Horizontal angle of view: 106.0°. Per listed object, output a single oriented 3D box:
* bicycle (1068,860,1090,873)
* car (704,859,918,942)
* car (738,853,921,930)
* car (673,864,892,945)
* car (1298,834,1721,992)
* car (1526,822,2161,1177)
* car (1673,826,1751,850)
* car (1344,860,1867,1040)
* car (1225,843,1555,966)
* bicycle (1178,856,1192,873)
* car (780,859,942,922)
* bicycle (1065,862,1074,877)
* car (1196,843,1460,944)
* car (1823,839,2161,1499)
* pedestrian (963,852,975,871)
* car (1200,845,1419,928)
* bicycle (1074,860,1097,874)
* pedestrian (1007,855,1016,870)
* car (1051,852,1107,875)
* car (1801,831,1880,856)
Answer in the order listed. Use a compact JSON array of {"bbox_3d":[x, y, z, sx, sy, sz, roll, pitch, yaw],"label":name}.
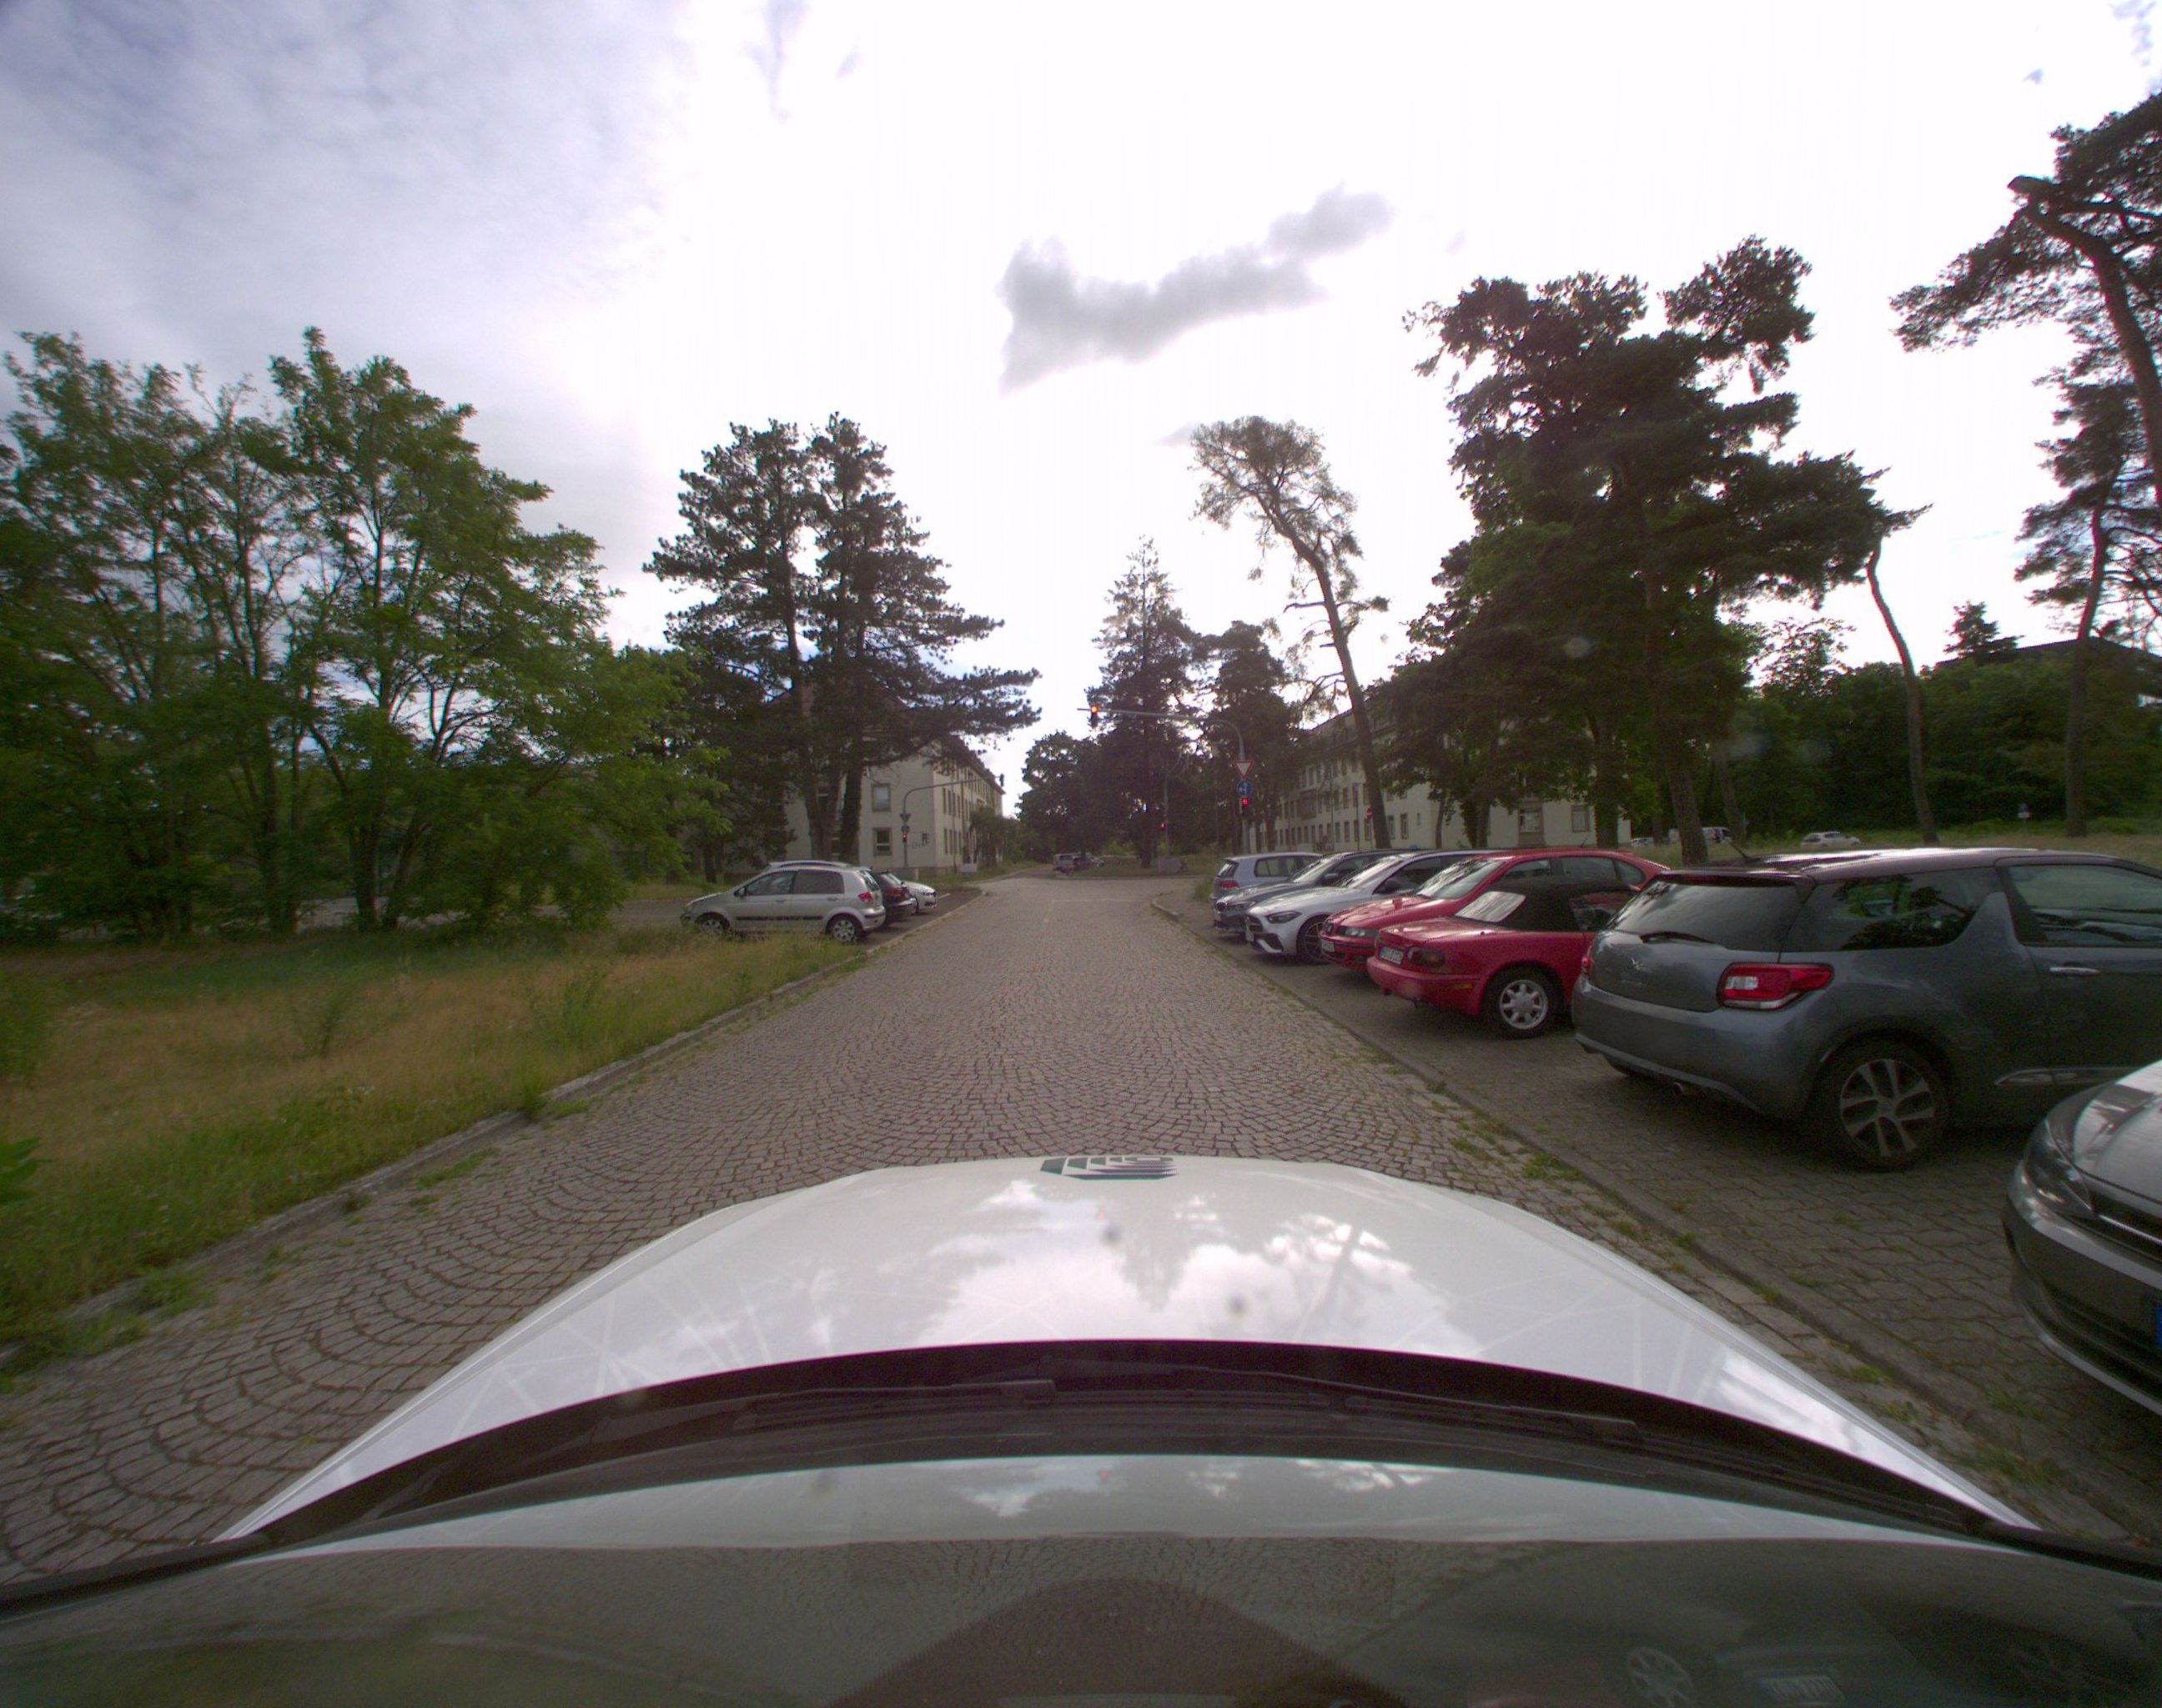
[{"bbox_3d":[-0.161,1.100,72.738,1.879,1.171,0.663,0,-1,-7],"label":"bicycle"},{"bbox_3d":[-6.017,1.006,18.634,4.294,1.554,1.807,-3,0,-7],"label":"car"},{"bbox_3d":[-6.495,0.938,21.426,4.293,1.732,1.649,-3,0,-7],"label":"car"},{"bbox_3d":[-5.749,0.953,16.045,3.713,1.481,1.671,0,0,-4],"label":"car"},{"bbox_3d":[4.865,0.623,9.595,4.096,1.476,1.683,-3,0,-3],"label":"car"},{"bbox_3d":[4.765,0.634,4.625,3.496,1.487,1.742,-3,0,-2],"label":"car"},{"bbox_3d":[55.587,-1.366,71.784,5.284,2.019,2.105,0,-1,-1],"label":"car"},{"bbox_3d":[4.406,0.762,7.239,3.575,1.223,1.628,-3,0,0],"label":"car"},{"bbox_3d":[4.421,0.673,11.944,4.183,1.437,1.750,-3,0,-9],"label":"car"},{"bbox_3d":[6.895,0.687,54.176,0.661,1.051,1.887,0,0,-1],"label":"bicycle"},{"bbox_3d":[-6.341,1.028,23.883,4.294,1.554,1.807,-3,0,-7],"label":"car"},{"bbox_3d":[-0.889,1.184,64.587,0.661,1.171,1.887,0,-1,-1],"label":"bicycle"},{"bbox_3d":[4.398,0.658,14.710,4.232,1.479,1.702,-3,0,-12],"label":"car"},{"bbox_3d":[4.455,0.628,1.749,4.118,1.447,1.765,-3,0,-1],"label":"car"},{"bbox_3d":[-11.192,0.752,81.441,1.071,1.959,1.121,0,-1,-1],"label":"pedestrian"},{"bbox_3d":[4.763,0.649,17.273,4.131,1.463,1.630,-3,0,-7],"label":"car"},{"bbox_3d":[0.396,1.066,69.257,1.879,1.171,0.663,0,-1,-7],"label":"bicycle"},{"bbox_3d":[-9.644,1.189,113.378,1.238,1.959,1.119,0,-1,-6],"label":"pedestrian"},{"bbox_3d":[-0.263,0.963,84.043,5.383,2.101,2.168,-2,0,-14],"label":"car"},{"bbox_3d":[56.926,-0.771,61.084,4.119,1.804,1.900,0,-1,1],"label":"car"}]
